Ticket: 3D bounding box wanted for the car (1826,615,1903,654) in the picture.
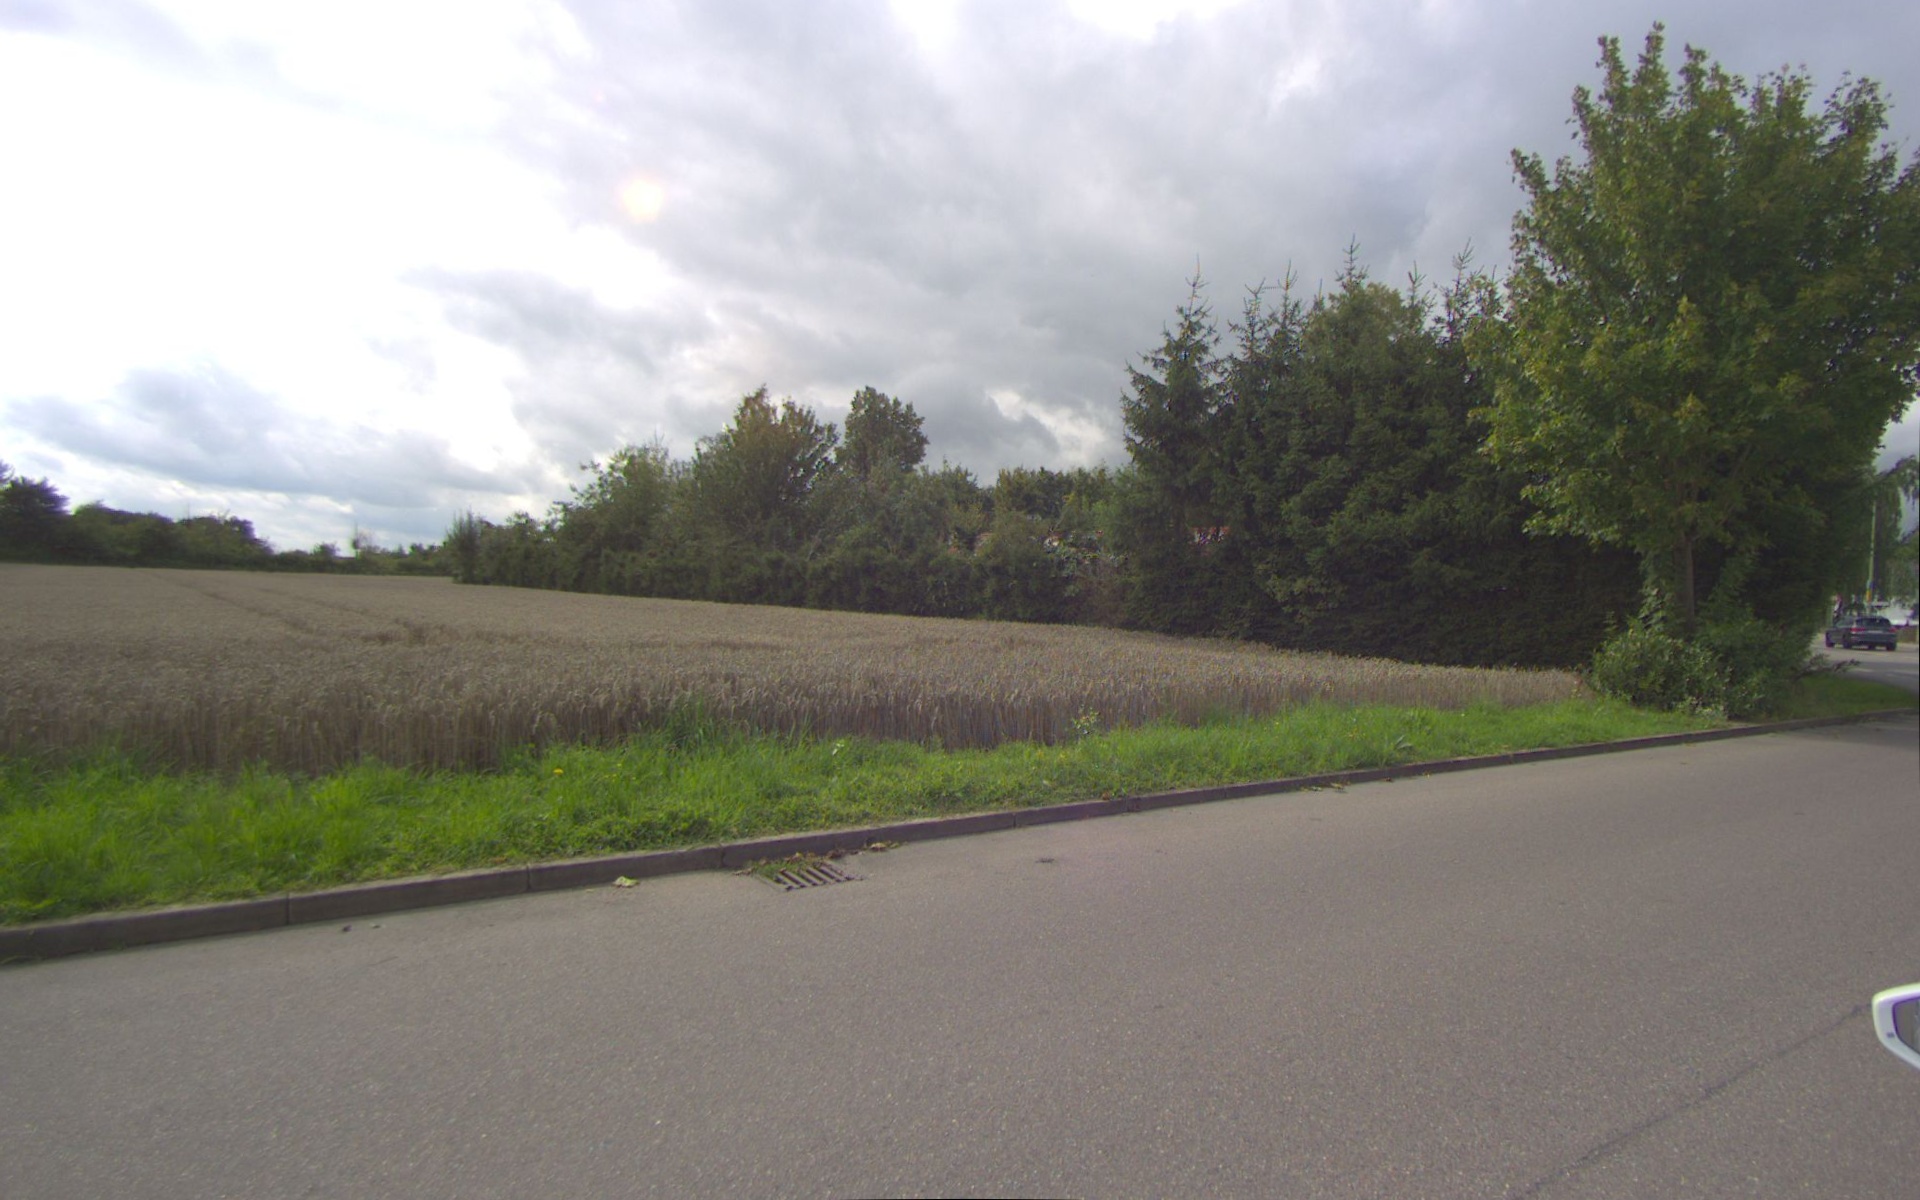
[{"bbox_3d":[42.352,1.585,47.144,1.965,1.573,3.989,3,2,32],"label":"car"}]
